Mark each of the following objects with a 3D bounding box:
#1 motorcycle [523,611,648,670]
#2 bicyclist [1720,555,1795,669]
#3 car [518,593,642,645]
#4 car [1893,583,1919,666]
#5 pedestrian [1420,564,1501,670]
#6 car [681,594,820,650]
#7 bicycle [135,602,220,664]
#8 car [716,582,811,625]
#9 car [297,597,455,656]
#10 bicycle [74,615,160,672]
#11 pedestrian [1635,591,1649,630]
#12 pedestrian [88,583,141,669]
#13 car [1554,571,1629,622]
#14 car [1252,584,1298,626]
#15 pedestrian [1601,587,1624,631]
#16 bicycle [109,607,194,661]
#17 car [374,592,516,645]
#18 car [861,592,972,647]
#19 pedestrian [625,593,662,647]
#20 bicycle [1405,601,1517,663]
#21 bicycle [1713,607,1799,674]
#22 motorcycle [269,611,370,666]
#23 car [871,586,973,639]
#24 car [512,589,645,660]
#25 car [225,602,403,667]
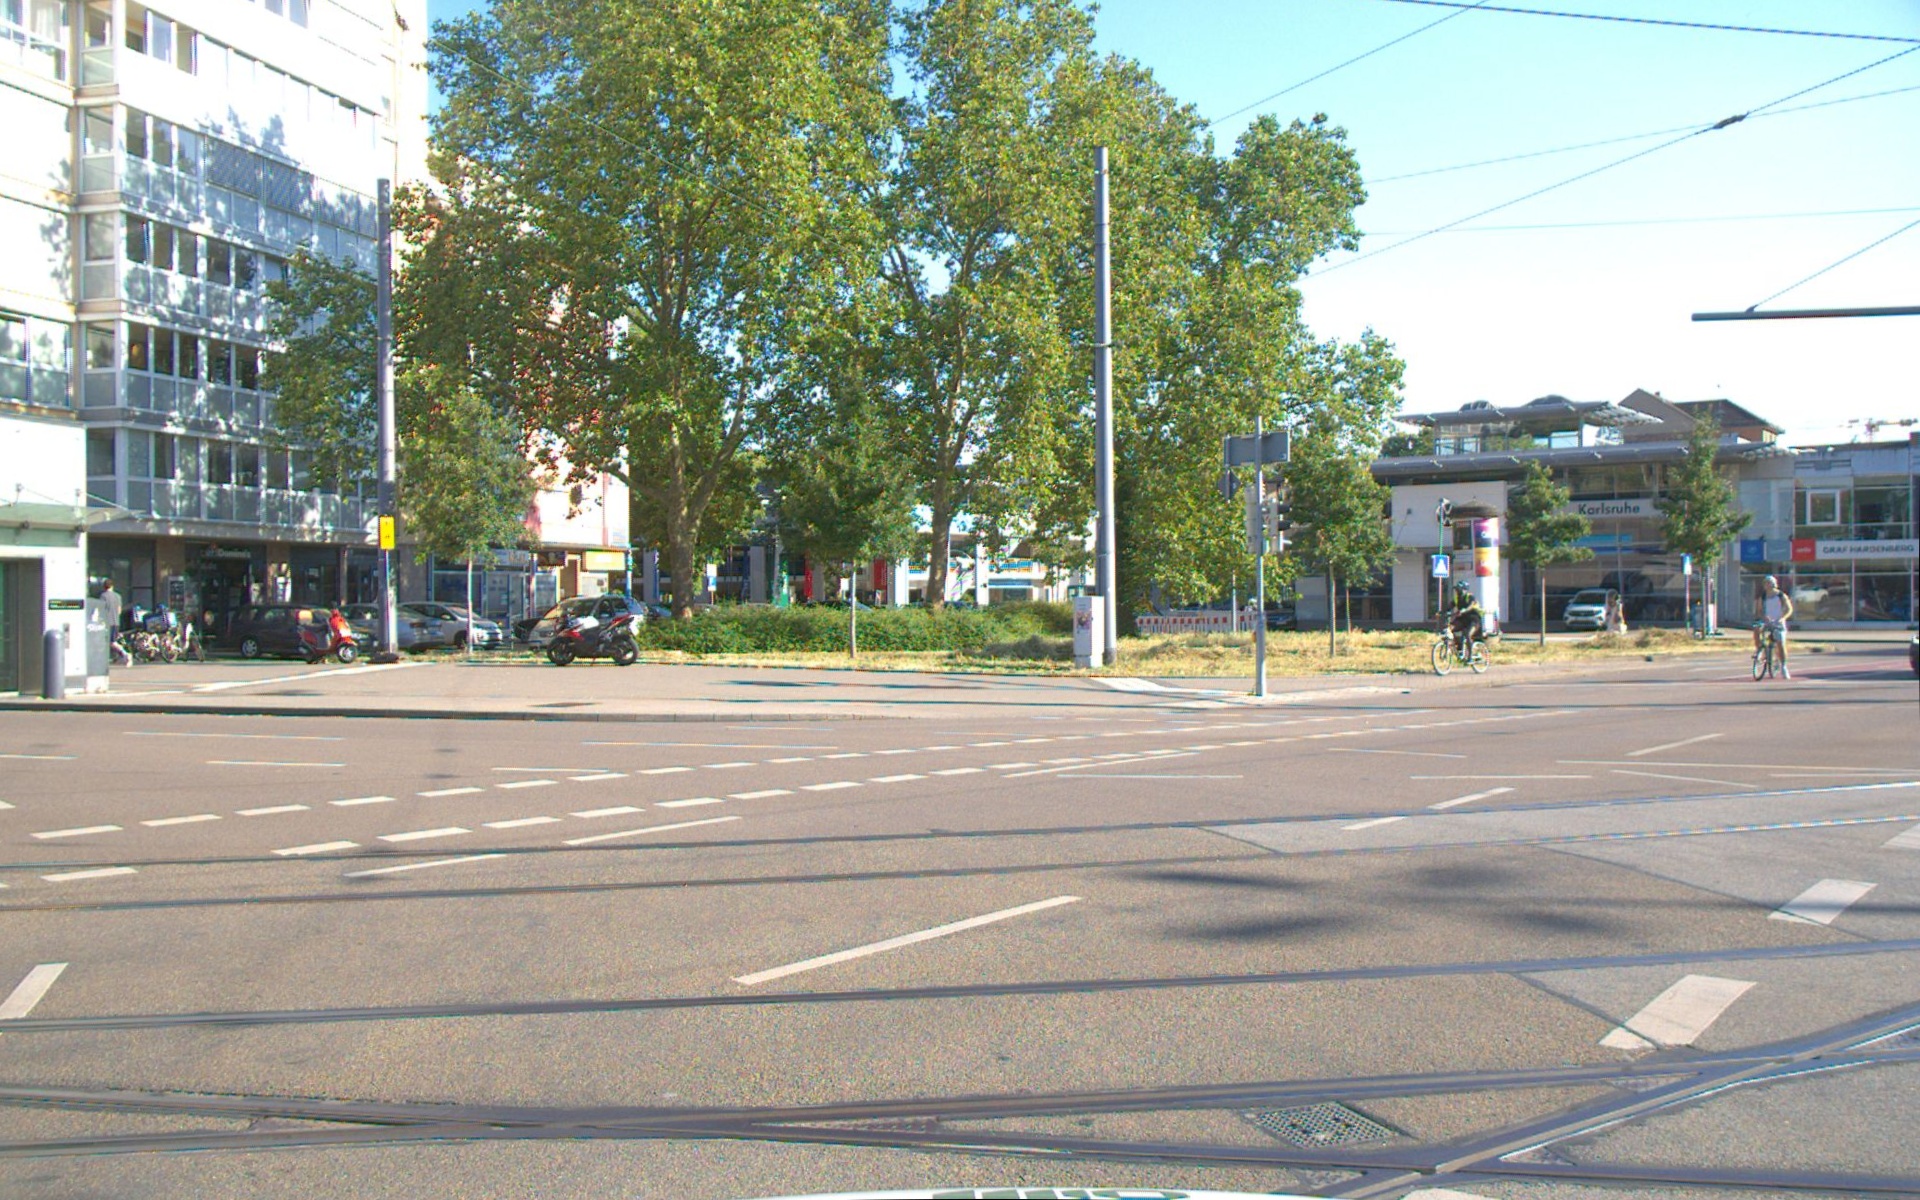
[{"bbox_3d":[-7.394,0.788,32.739,2.228,1.092,1.041,0,2,1],"label":"motorcycle"},{"bbox_3d":[14.739,0.226,30.555,1.013,2.049,1.140,-2,-1,36],"label":"bicyclist"},{"bbox_3d":[-13.637,0.659,59.399,3.903,1.663,1.858,2,2,16],"label":"car"},{"bbox_3d":[18.781,0.413,30.353,1.966,1.478,3.972,0,0,44],"label":"car"},{"bbox_3d":[10.028,0.326,33.153,1.260,2.048,1.018,0,2,-43],"label":"pedestrian"},{"bbox_3d":[-6.035,0.628,48.066,3.909,1.537,1.798,-1,0,-5],"label":"car"},{"bbox_3d":[-18.840,0.780,39.867,0.795,1.369,2.000,-1,1,10],"label":"bicycle"},{"bbox_3d":[-8.996,0.141,75.847,3.903,1.810,1.858,2,2,16],"label":"car"},{"bbox_3d":[-16.625,0.726,47.123,3.903,1.444,1.858,2,2,16],"label":"car"},{"bbox_3d":[-20.581,1.043,40.440,0.795,1.270,2.000,-1,1,10],"label":"bicycle"},{"bbox_3d":[23.660,0.362,57.371,0.402,1.338,0.572,-1,0,24],"label":"pedestrian"},{"bbox_3d":[-17.376,0.525,33.989,0.684,1.758,0.750,-1,0,37],"label":"pedestrian"},{"bbox_3d":[26.875,-0.184,70.344,1.961,2.048,3.985,3,2,36],"label":"car"},{"bbox_3d":[14.870,0.205,78.266,1.756,1.535,4.006,2,6,5],"label":"car"},{"bbox_3d":[22.867,0.318,57.994,0.707,1.542,0.831,-1,0,24],"label":"pedestrian"},{"bbox_3d":[-19.660,0.816,40.262,0.795,1.221,2.000,-1,1,10],"label":"bicycle"},{"bbox_3d":[-16.295,0.560,52.381,3.903,1.444,1.858,2,2,16],"label":"car"},{"bbox_3d":[-1.674,0.737,64.422,3.902,1.901,1.858,2,2,14],"label":"car"},{"bbox_3d":[-10.824,0.681,56.593,0.866,1.767,0.904,2,2,18],"label":"pedestrian"},{"bbox_3d":[10.080,0.614,33.219,2.511,1.142,1.018,0,2,-43],"label":"bicycle"},{"bbox_3d":[14.749,0.737,30.598,1.013,1.143,2.522,-2,-1,35],"label":"bicycle"},{"bbox_3d":[-13.485,0.805,34.842,1.760,1.064,0.882,-2,1,13],"label":"motorcycle"},{"bbox_3d":[-1.587,0.489,69.915,3.902,2.034,1.858,2,2,14],"label":"car"},{"bbox_3d":[-10.640,0.652,46.392,1.875,1.727,4.003,-3,1,16],"label":"car"},{"bbox_3d":[-17.357,0.898,44.512,4.124,1.508,1.858,2,2,13],"label":"car"}]
